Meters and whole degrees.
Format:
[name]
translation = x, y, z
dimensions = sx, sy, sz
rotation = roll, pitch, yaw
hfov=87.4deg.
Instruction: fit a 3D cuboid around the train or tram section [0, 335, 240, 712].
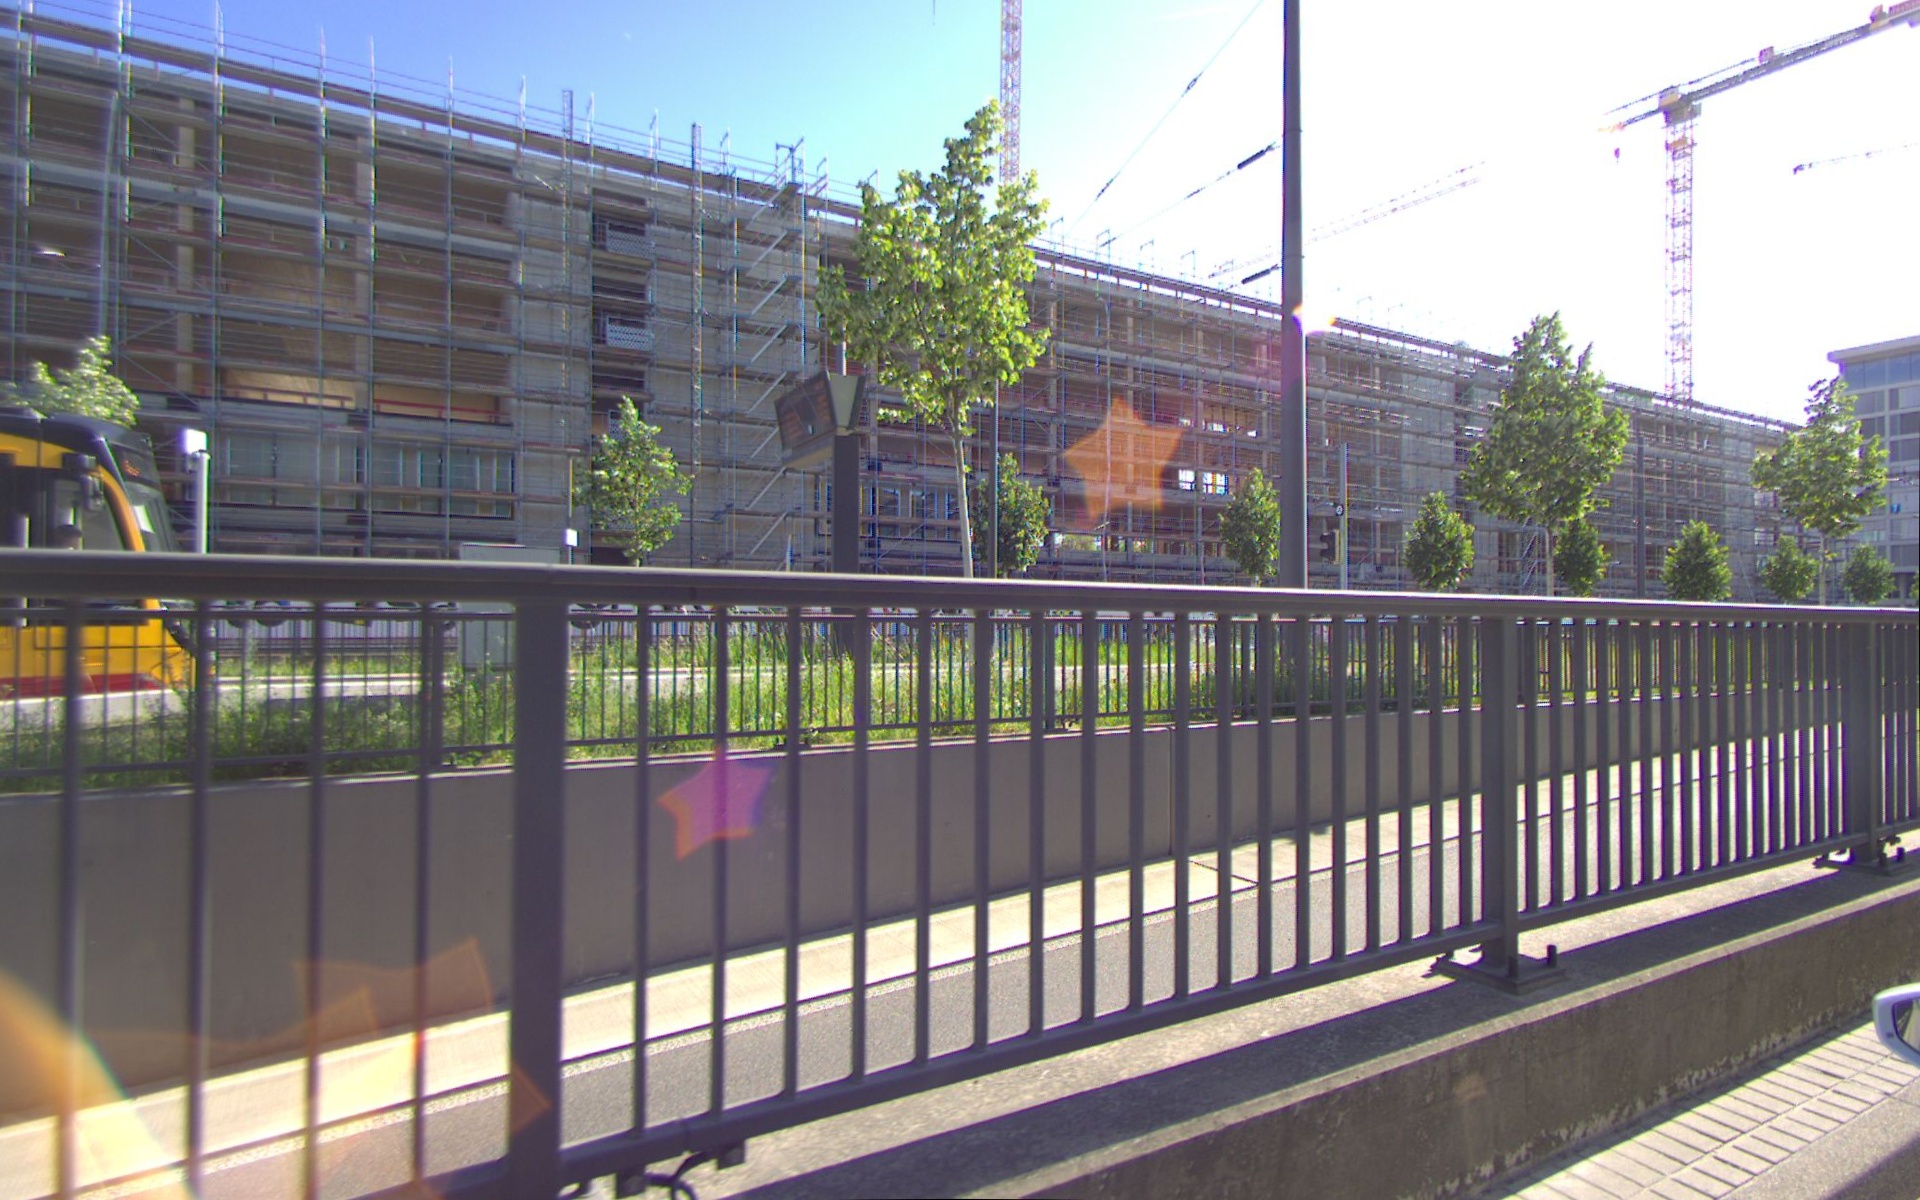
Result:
[train or tram section]
translation = -14.165, -0.811, 8.630
dimensions = 12.638, 3.686, 2.802
rotation = 1, -2, -30
